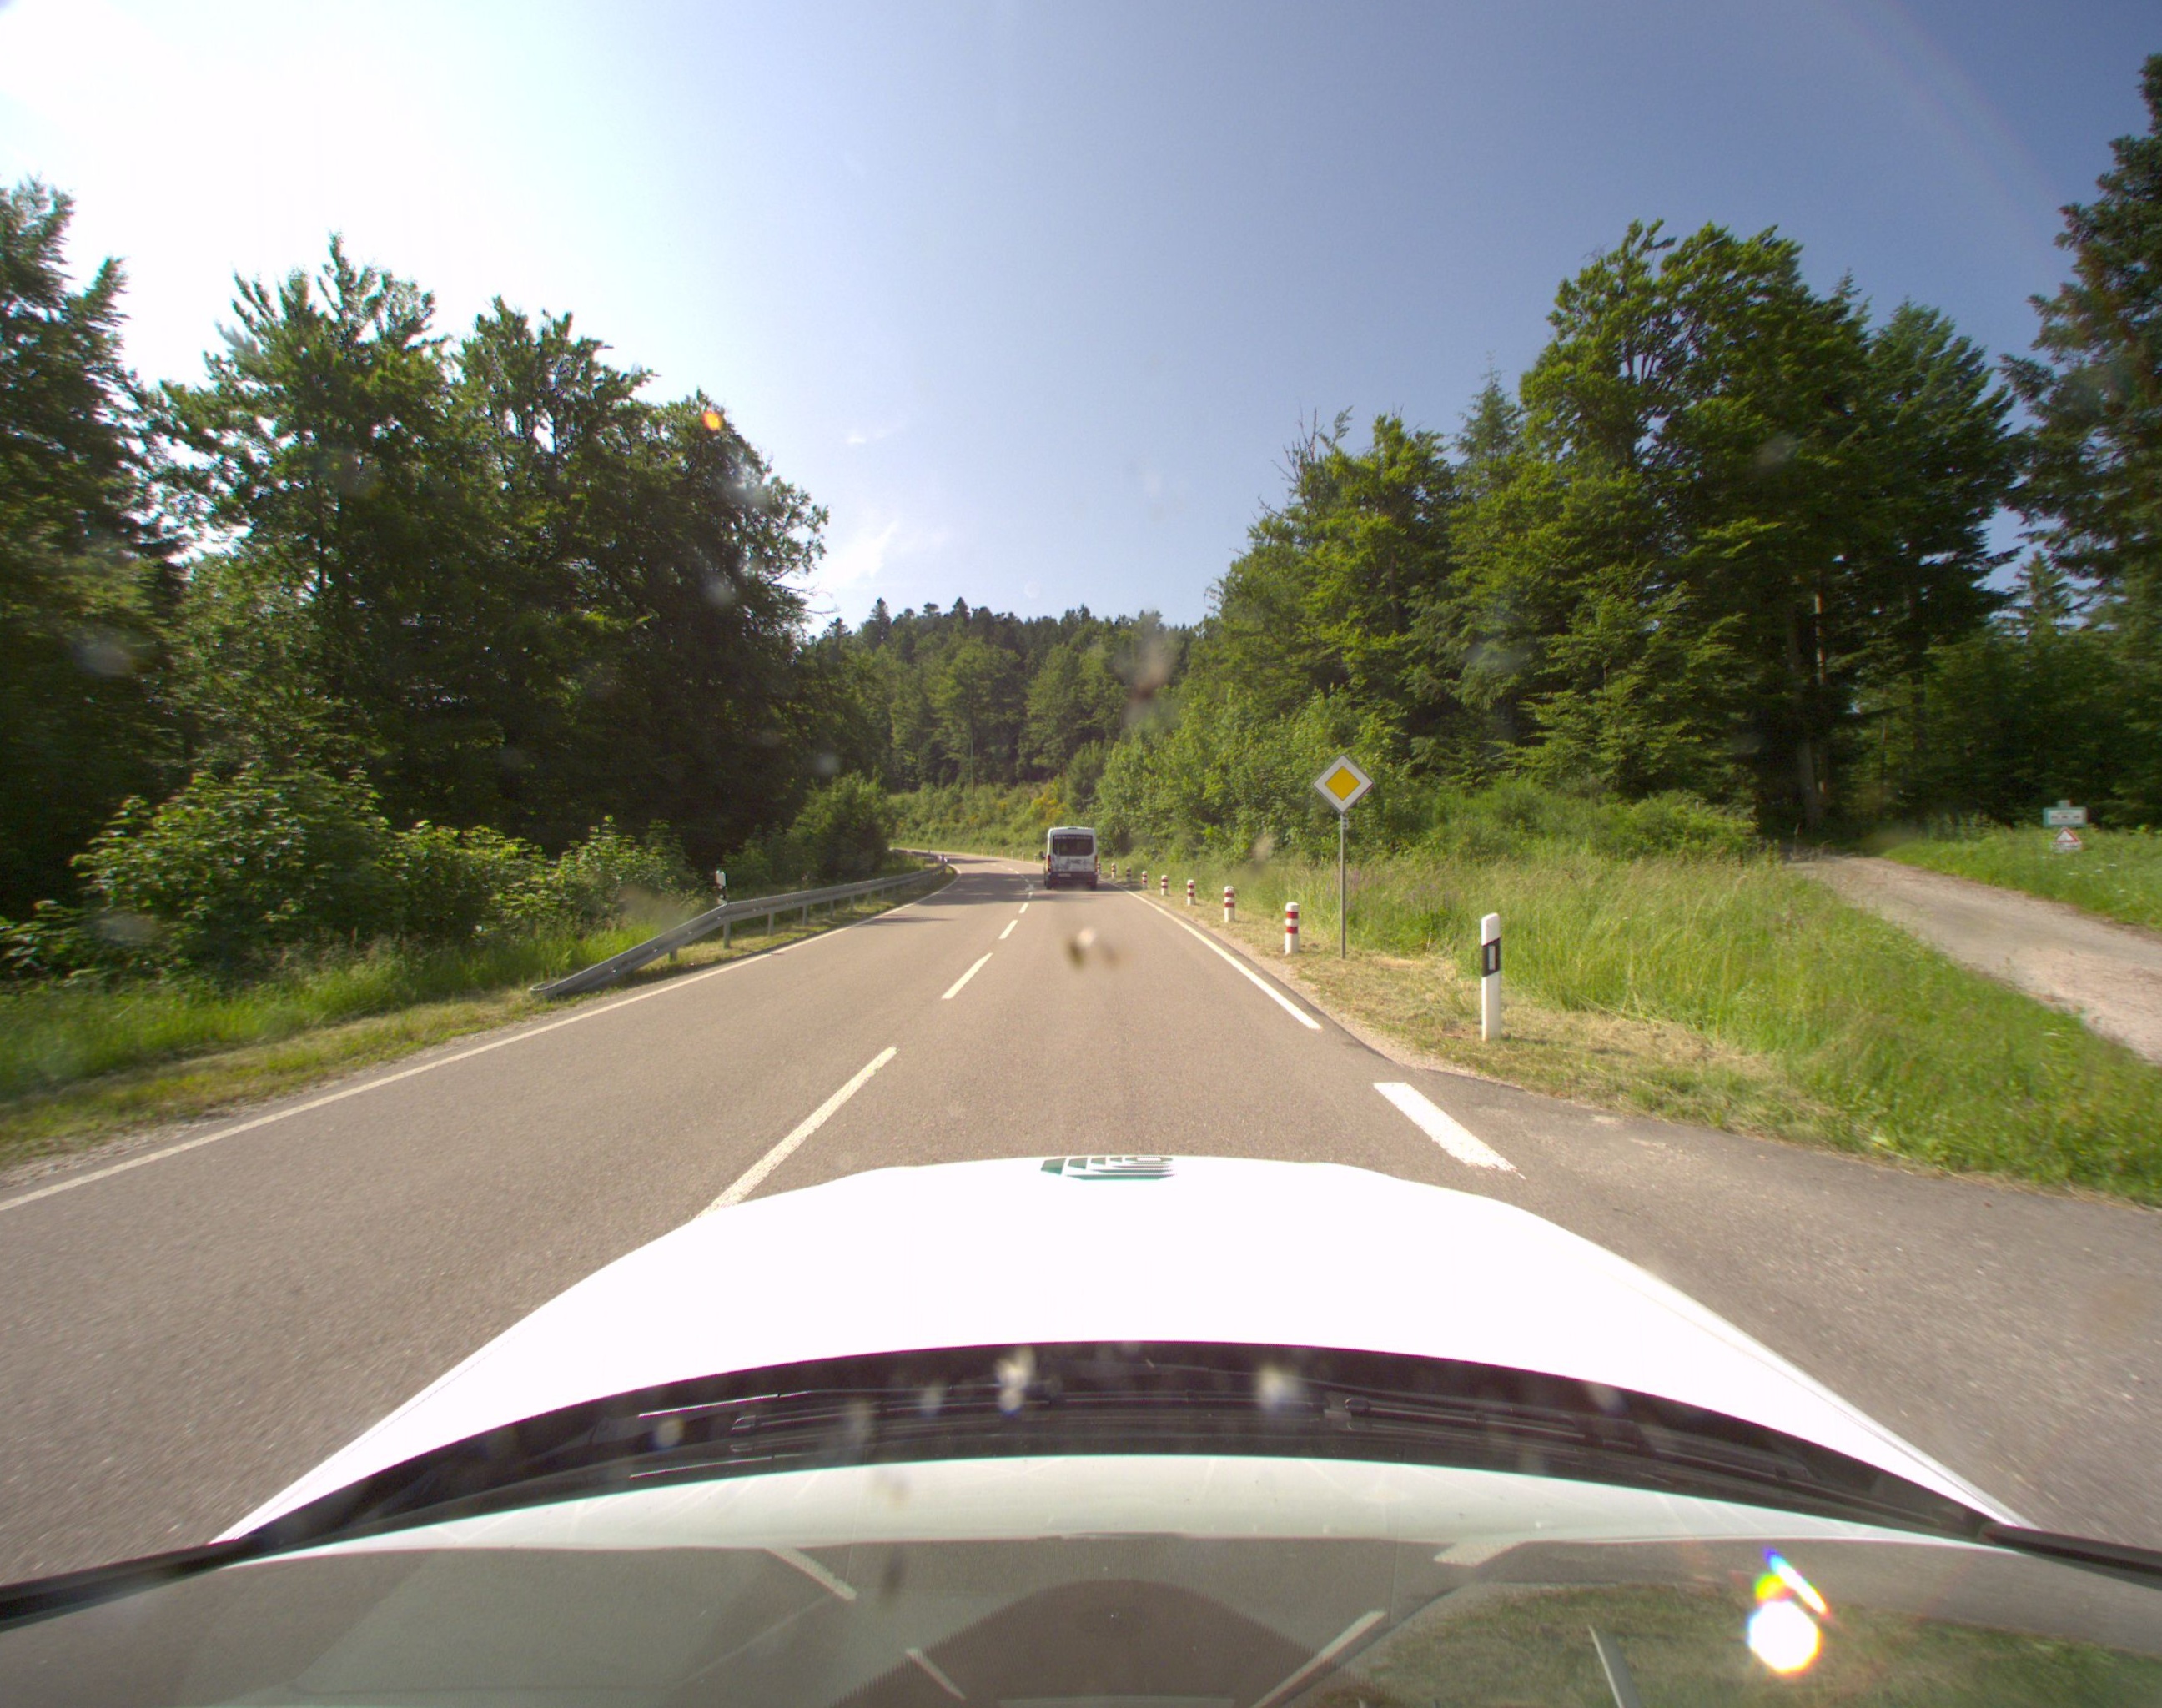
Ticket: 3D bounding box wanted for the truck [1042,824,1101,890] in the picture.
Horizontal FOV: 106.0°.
[{"bbox_3d":[-0.485,0.070,33.857,2.111,2.498,5.352,-1,1,-4],"label":"truck"}]
